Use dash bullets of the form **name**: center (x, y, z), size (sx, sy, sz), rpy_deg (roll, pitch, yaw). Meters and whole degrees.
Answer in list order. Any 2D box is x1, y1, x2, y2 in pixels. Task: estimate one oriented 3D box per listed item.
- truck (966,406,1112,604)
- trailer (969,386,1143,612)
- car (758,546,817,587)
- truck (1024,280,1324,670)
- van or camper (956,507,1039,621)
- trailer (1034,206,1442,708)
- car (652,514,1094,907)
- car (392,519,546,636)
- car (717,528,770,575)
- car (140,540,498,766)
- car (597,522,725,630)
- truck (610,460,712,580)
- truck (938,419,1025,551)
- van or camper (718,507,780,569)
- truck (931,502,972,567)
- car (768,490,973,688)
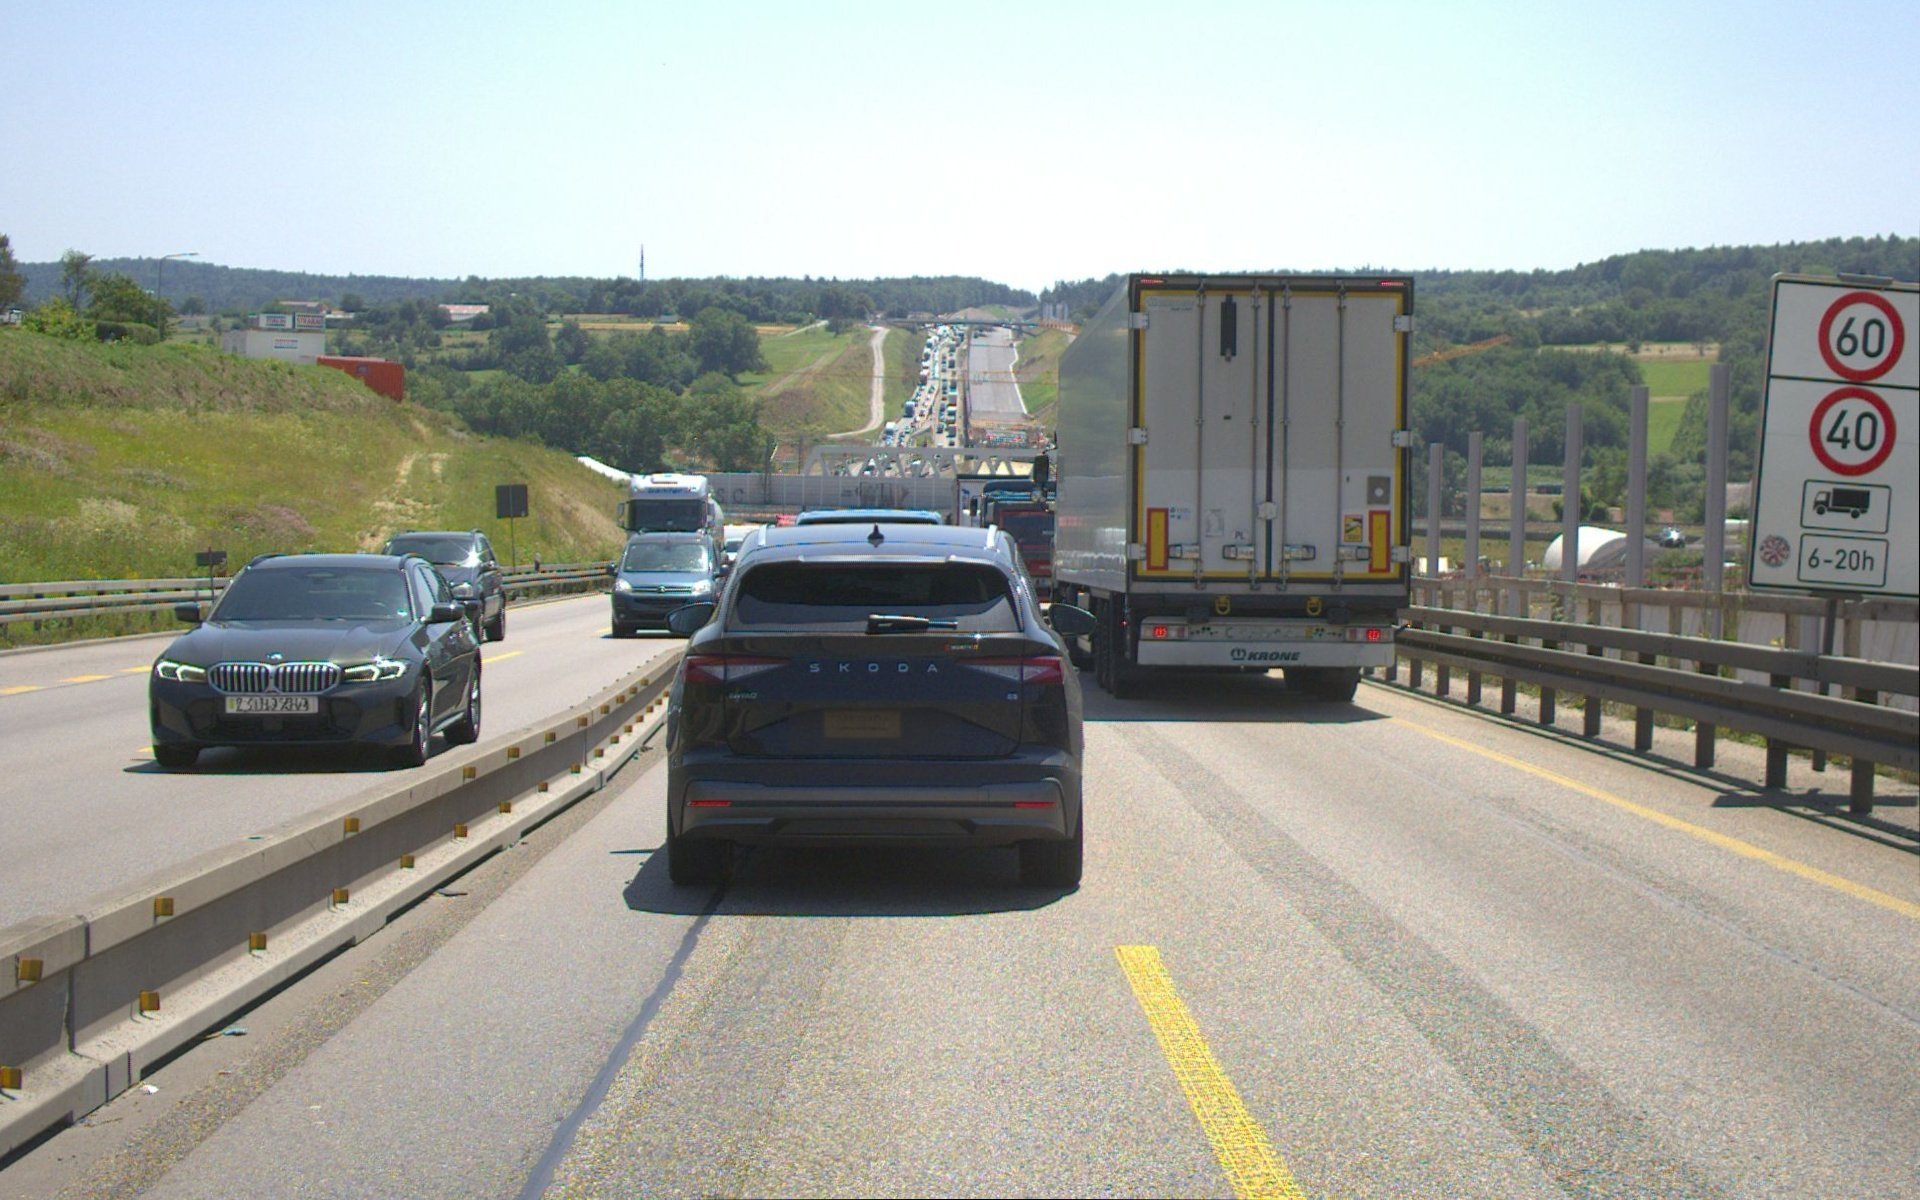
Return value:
- **truck**: center (1.825, -2.187, 83.194), size (3.180, 4.498, 8.165), rpy_deg (1, 0, -1)
- **trailer**: center (1.934, -1.990, 76.147), size (3.180, 4.498, 14.967), rpy_deg (1, 0, -1)
- **car**: center (-6.086, -1.196, 121.695), size (1.895, 1.409, 4.679), rpy_deg (0, 1, 0)
- **truck**: center (2.562, -1.537, 44.076), size (3.180, 4.497, 8.166), rpy_deg (1, 1, -1)
- **van or camper**: center (1.164, -1.021, 102.792), size (2.389, 3.269, 6.468), rpy_deg (0, 0, 1)
- **trailer**: center (2.649, -1.429, 37.611), size (3.180, 4.497, 13.109), rpy_deg (1, 1, -1)
- **car**: center (-0.362, 0.442, 16.135), size (1.802, 1.602, 4.000), rpy_deg (1, 0, 0)
- **car**: center (-7.647, -0.376, 53.941), size (1.828, 1.760, 4.497), rpy_deg (0, 1, -1)
- **car**: center (-9.221, -2.071, 146.708), size (1.993, 1.964, 5.343), rpy_deg (0, 1, -1)
- **car**: center (-4.481, 0.318, 24.630), size (1.798, 1.461, 4.356), rpy_deg (0, 1, -1)
- **car**: center (-5.069, -0.434, 58.758), size (1.846, 1.771, 4.882), rpy_deg (0, 1, -1)
- **truck**: center (-9.371, -2.502, 108.381), size (2.779, 3.660, 6.278), rpy_deg (1, 1, -1)
- **truck**: center (0.725, -4.173, 128.263), size (2.852, 4.450, 11.918), rpy_deg (1, 0, -1)
- **van or camper**: center (-9.373, -2.754, 153.310), size (2.357, 2.667, 7.858), rpy_deg (0, 1, -1)
- **truck**: center (-0.574, -4.364, 231.709), size (2.639, 4.179, 9.284), rpy_deg (1, 0, -1)
- **car**: center (-0.915, -0.101, 35.961), size (1.993, 1.919, 4.508), rpy_deg (1, 0, -1)
